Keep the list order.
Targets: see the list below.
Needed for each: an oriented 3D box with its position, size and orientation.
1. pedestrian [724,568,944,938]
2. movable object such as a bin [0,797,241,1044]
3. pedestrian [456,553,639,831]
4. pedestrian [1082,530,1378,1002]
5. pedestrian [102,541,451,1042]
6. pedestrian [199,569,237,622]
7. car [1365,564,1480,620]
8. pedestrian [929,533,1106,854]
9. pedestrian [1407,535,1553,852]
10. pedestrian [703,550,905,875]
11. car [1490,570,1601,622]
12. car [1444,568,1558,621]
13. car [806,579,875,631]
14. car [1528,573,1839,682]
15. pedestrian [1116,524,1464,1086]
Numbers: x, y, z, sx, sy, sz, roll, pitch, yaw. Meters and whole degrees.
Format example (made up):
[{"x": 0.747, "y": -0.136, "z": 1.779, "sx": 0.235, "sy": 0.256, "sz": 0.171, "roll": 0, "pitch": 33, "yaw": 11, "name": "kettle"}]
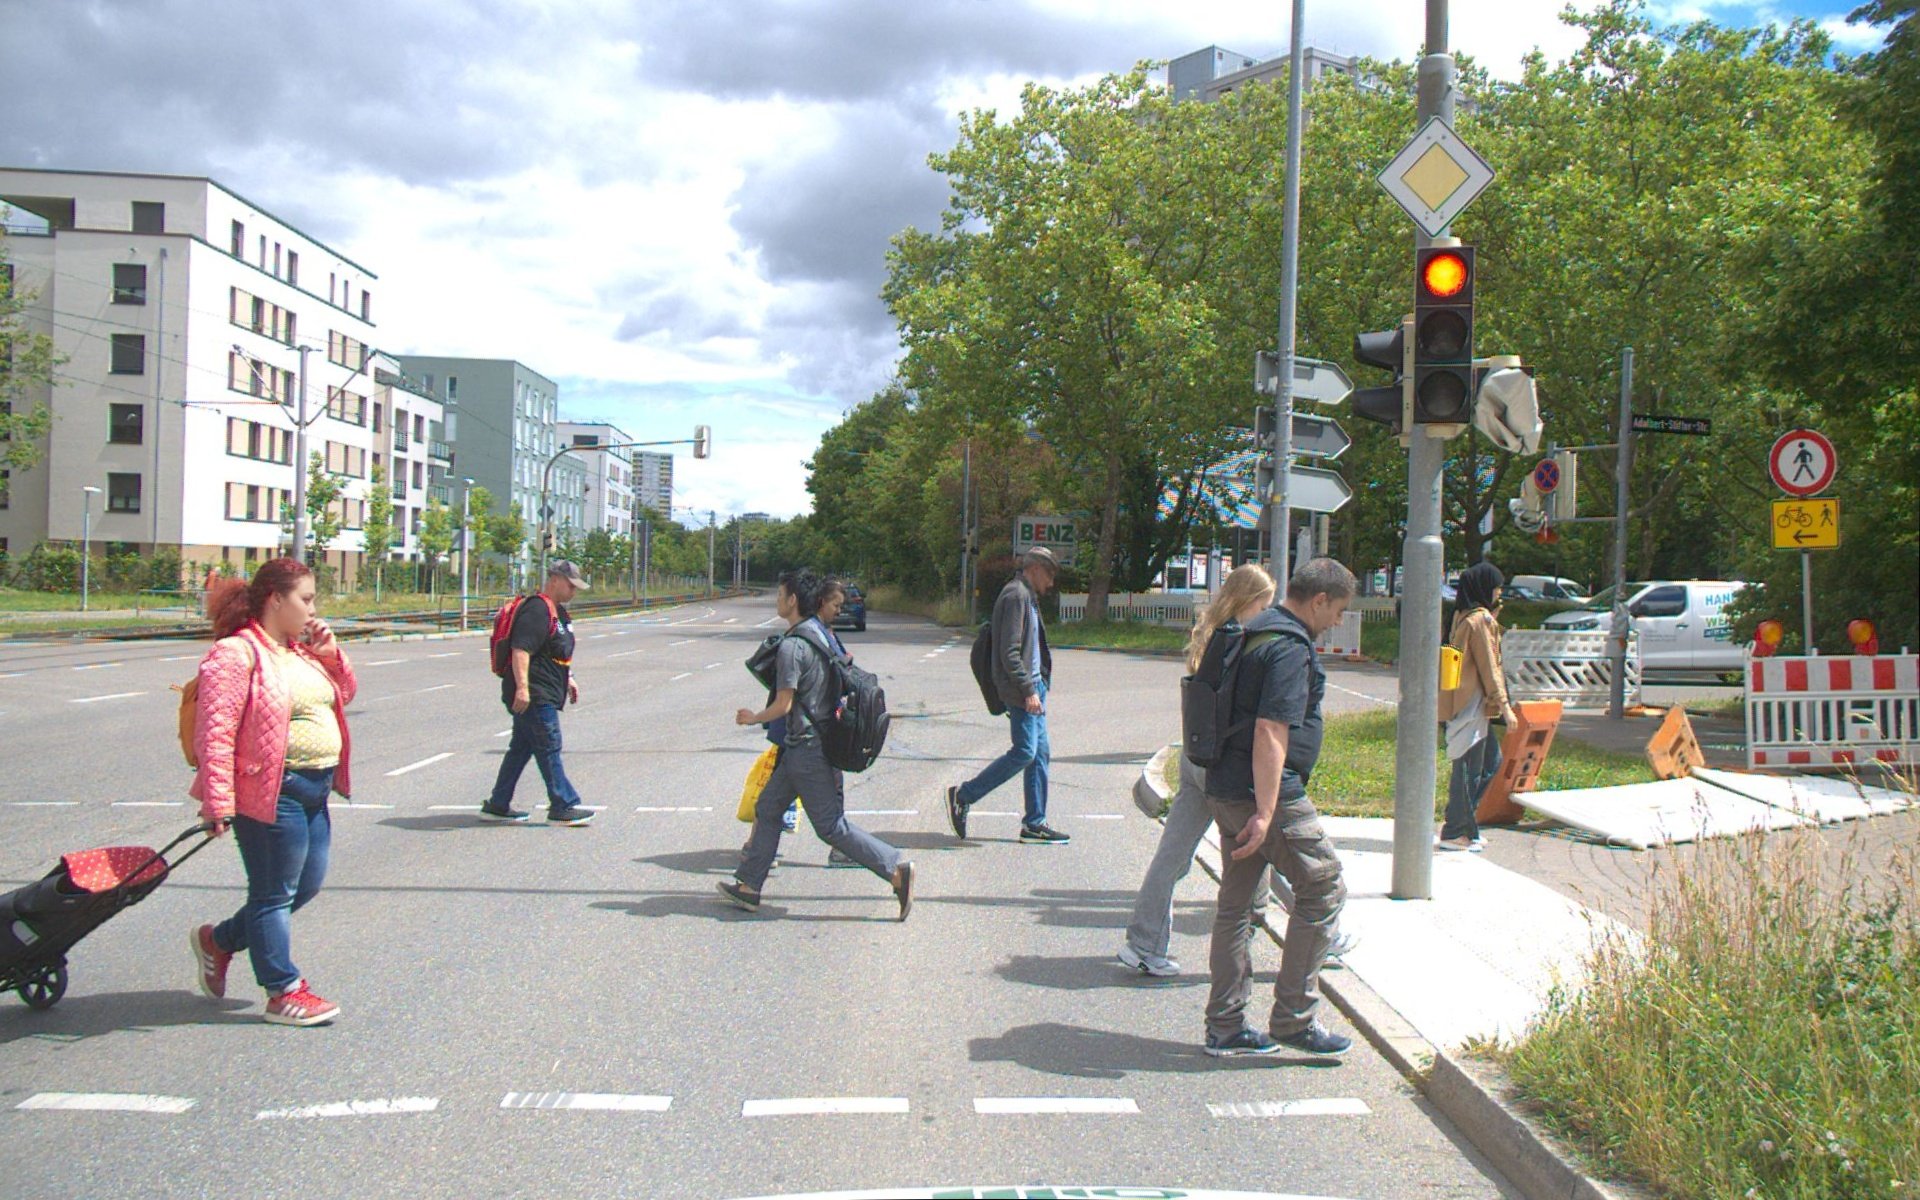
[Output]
[{"x": -0.578, "y": 0.652, "z": 7.516, "sx": 0.928, "sy": 1.579, "sz": 0.842, "roll": 1, "pitch": 0, "yaw": -6, "name": "pedestrian"}, {"x": -2.998, "y": 1.058, "z": 5.607, "sx": 0.779, "sy": 0.673, "sz": 0.778, "roll": 1, "pitch": 0, "yaw": -1, "name": "movable object such as a bin"}, {"x": -2.514, "y": 0.537, "z": 10.178, "sx": 0.874, "sy": 1.624, "sz": 0.908, "roll": 1, "pitch": 0, "yaw": 0, "name": "pedestrian"}, {"x": 1.001, "y": 0.589, "z": 6.390, "sx": 0.999, "sy": 1.677, "sz": 0.929, "roll": 1, "pitch": 0, "yaw": 2, "name": "pedestrian"}, {"x": -2.283, "y": 0.604, "z": 5.623, "sx": 0.863, "sy": 1.582, "sz": 0.746, "roll": 1, "pitch": 0, "yaw": -1, "name": "pedestrian"}, {"x": -22.070, "y": -0.129, "z": 49.200, "sx": 0.814, "sy": 1.542, "sz": 0.636, "roll": 1, "pitch": 0, "yaw": -1, "name": "pedestrian"}, {"x": 17.523, "y": -0.317, "z": 62.825, "sx": 1.974, "sy": 2.049, "sz": 3.957, "roll": 0, "pitch": 1, "yaw": -32, "name": "car"}, {"x": 0.347, "y": 0.525, "z": 9.842, "sx": 0.981, "sy": 1.804, "sz": 0.929, "roll": 1, "pitch": 0, "yaw": 2, "name": "pedestrian"}, {"x": 3.050, "y": 0.517, "z": 9.773, "sx": 0.765, "sy": 1.773, "sz": 0.829, "roll": 1, "pitch": 0, "yaw": 15, "name": "pedestrian"}, {"x": -0.814, "y": 0.565, "z": 8.893, "sx": 0.893, "sy": 1.635, "sz": 0.930, "roll": 1, "pitch": 0, "yaw": 6, "name": "pedestrian"}, {"x": 23.935, "y": -0.186, "z": 67.696, "sx": 1.974, "sy": 2.049, "sz": 3.957, "roll": 0, "pitch": 1, "yaw": -32, "name": "car"}, {"x": 21.367, "y": -0.238, "z": 65.459, "sx": 1.974, "sy": 2.049, "sz": 3.957, "roll": 0, "pitch": 1, "yaw": -32, "name": "car"}, {"x": -3.672, "y": 0.135, "z": 51.496, "sx": 1.942, "sy": 1.512, "sz": 4.489, "roll": 1, "pitch": 1, "yaw": -2, "name": "car"}, {"x": 13.431, "y": 0.500, "z": 30.858, "sx": 4.976, "sy": 1.906, "sz": 1.947, "roll": 1, "pitch": 0, "yaw": -5, "name": "car"}, {"x": 1.031, "y": 0.613, "z": 5.404, "sx": 0.939, "sy": 1.677, "sz": 0.880, "roll": 1, "pitch": 0, "yaw": -1, "name": "pedestrian"}]
